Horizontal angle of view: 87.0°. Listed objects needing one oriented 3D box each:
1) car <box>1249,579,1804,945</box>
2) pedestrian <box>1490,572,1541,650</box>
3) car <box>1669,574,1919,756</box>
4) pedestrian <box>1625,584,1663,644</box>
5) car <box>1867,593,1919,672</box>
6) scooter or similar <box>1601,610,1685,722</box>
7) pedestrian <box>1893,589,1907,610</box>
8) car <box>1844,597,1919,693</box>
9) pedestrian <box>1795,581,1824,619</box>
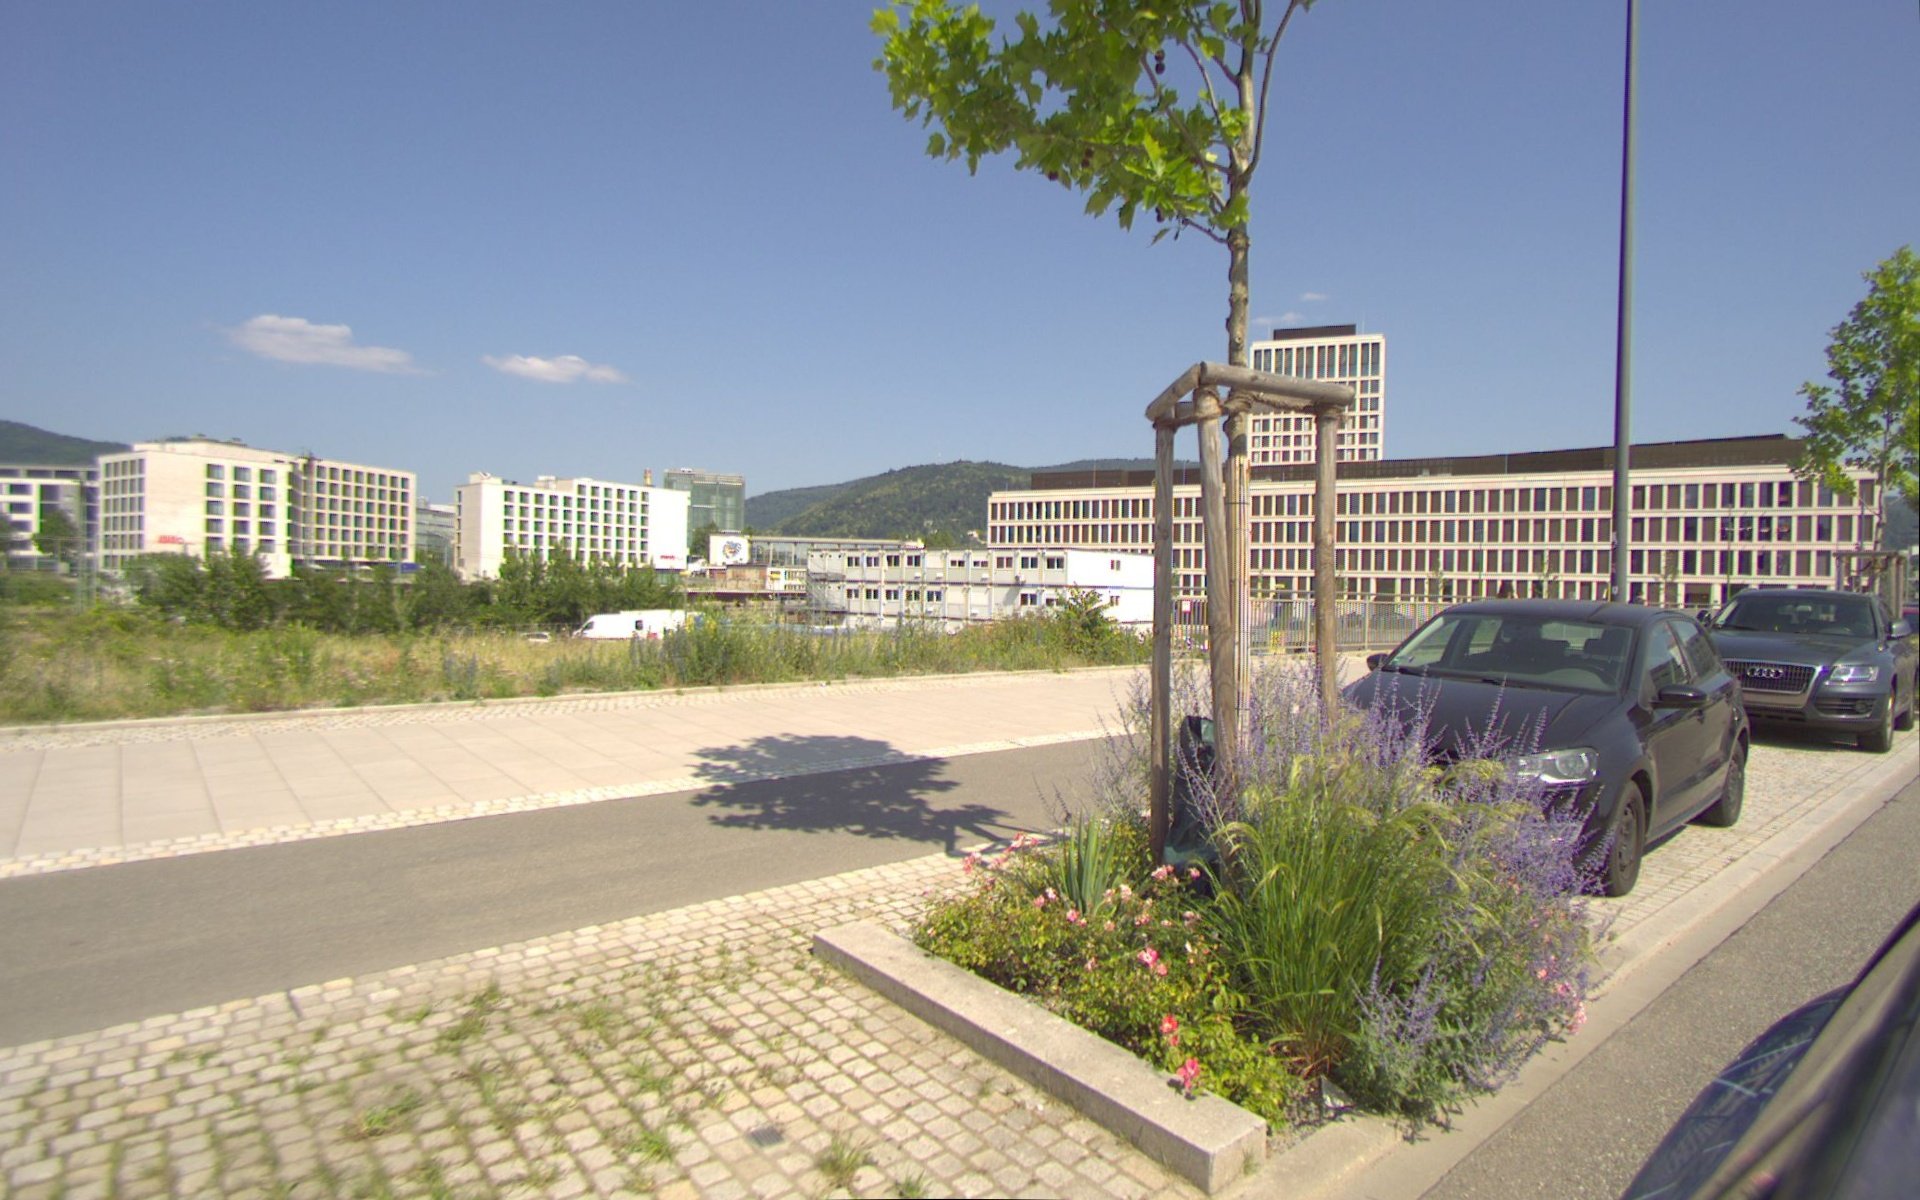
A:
[{"bbox_3d":[3.609,0.638,6.072,4.168,1.447,1.635,0,2,-42],"label":"car"},{"bbox_3d":[12.635,0.244,23.014,0.729,1.726,0.782,0,1,-40],"label":"pedestrian"},{"bbox_3d":[9.604,0.590,11.379,4.168,1.628,1.737,0,2,-42],"label":"car"},{"bbox_3d":[20.045,0.397,29.659,0.639,1.726,0.733,-1,0,-40],"label":"pedestrian"},{"bbox_3d":[21.996,0.716,22.611,4.466,1.637,1.913,1,1,-40],"label":"car"},{"bbox_3d":[7.973,0.739,11.800,1.239,1.209,0.489,0,1,-41],"label":"scooter or similar"},{"bbox_3d":[83.502,-0.086,89.859,0.823,1.805,0.913,2,2,41],"label":"pedestrian"},{"bbox_3d":[16.671,0.735,17.658,1.605,1.510,3.757,4,3,45],"label":"car"},{"bbox_3d":[37.302,0.005,44.432,0.932,1.628,0.752,1,3,-41],"label":"pedestrian"}]
